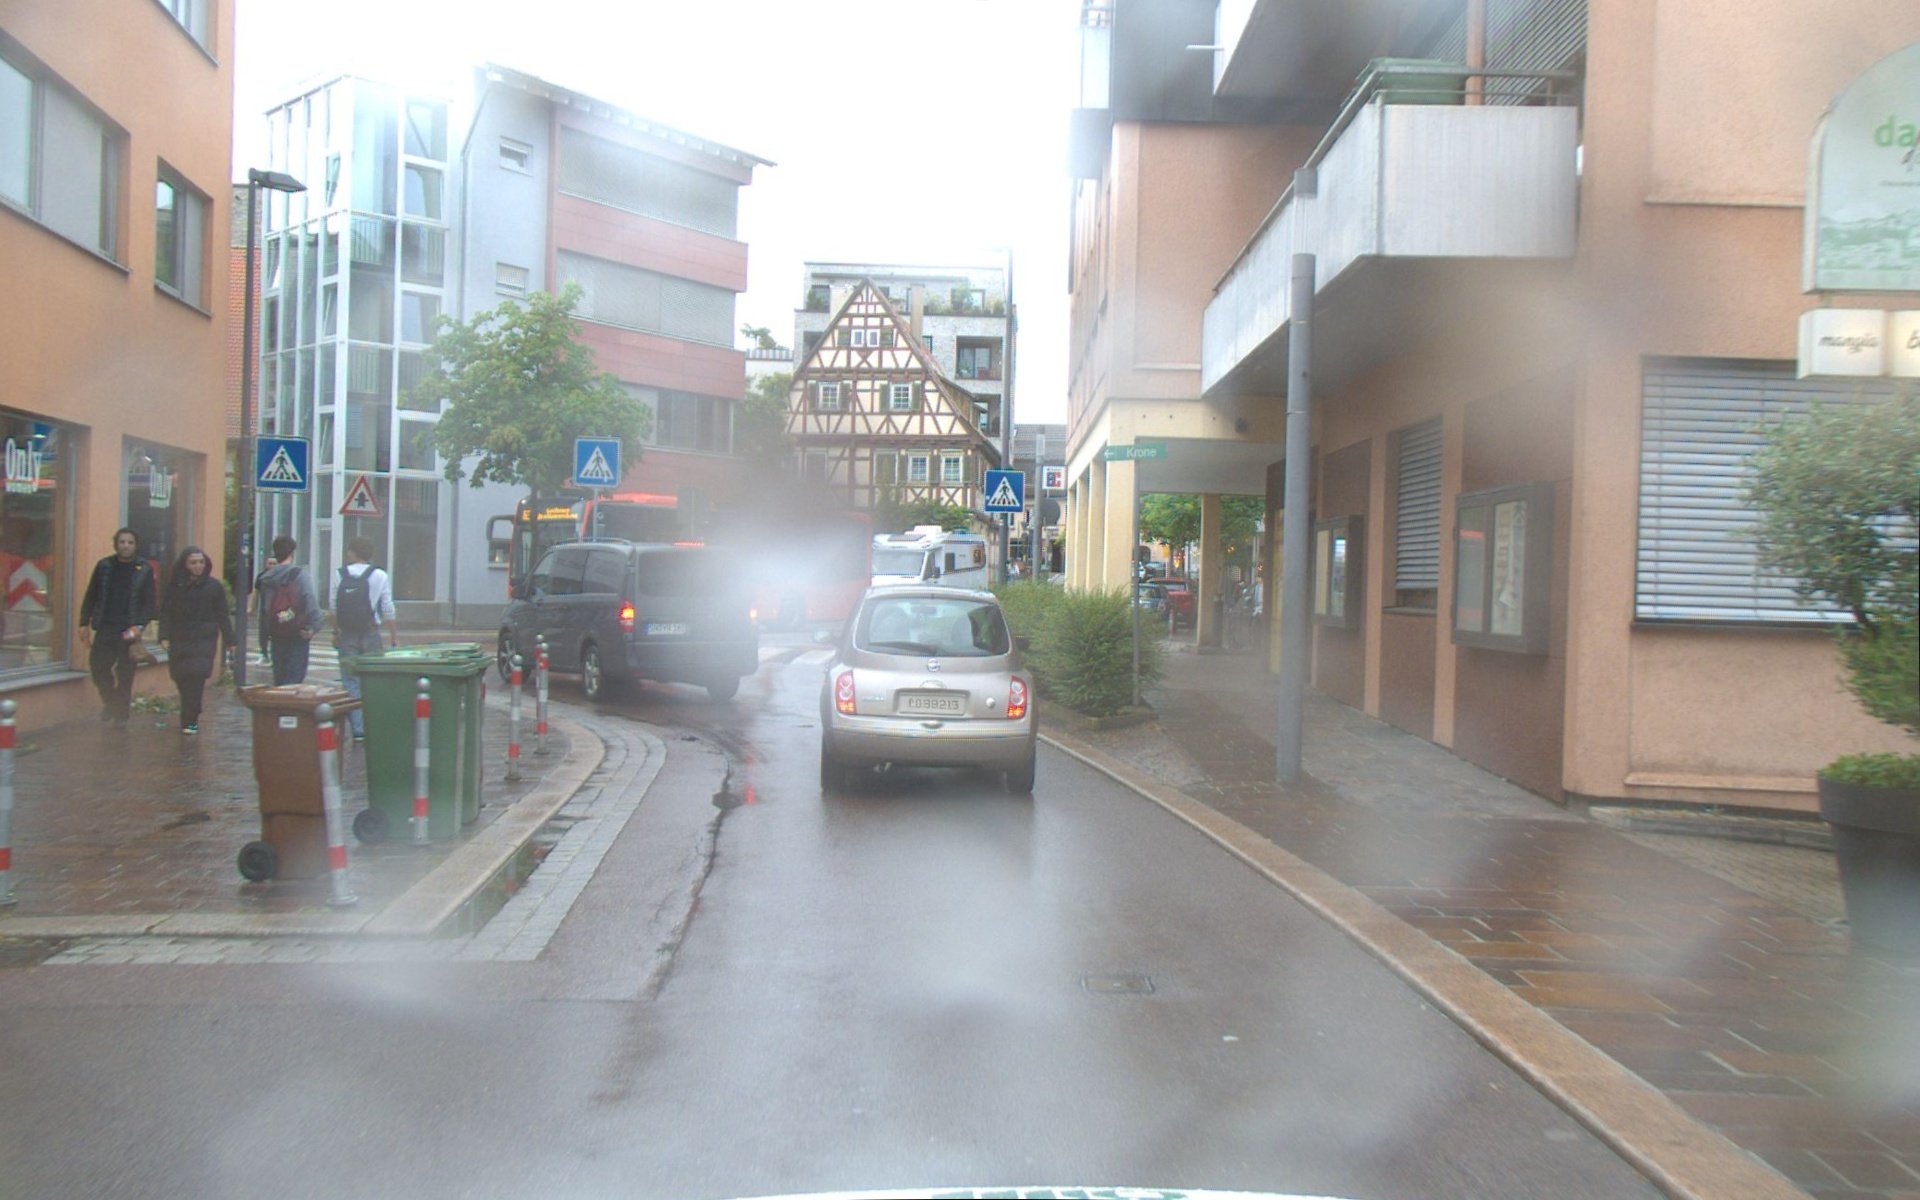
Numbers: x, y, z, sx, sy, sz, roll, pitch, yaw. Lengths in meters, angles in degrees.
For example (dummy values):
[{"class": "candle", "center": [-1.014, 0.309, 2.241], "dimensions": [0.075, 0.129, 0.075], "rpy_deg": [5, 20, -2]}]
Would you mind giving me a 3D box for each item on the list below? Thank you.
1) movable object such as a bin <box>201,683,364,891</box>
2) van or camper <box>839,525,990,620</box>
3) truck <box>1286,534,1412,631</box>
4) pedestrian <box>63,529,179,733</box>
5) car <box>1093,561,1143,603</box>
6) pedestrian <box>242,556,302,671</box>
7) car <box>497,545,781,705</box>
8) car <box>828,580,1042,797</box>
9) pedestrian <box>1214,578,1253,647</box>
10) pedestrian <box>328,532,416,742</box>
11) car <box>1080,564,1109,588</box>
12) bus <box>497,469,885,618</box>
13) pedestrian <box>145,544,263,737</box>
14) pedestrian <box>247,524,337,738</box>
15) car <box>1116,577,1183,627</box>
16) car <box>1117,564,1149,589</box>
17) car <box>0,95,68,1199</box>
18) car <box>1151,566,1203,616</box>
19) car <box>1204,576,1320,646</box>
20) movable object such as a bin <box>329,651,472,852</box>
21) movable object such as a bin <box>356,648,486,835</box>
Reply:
[{"class": "movable object such as a bin", "center": [-3.307, 0.900, 8.101], "dimensions": [0.569, 0.943, 0.481], "rpy_deg": [2, 0, 0]}, {"class": "van or camper", "center": [-1.245, -0.785, 50.178], "dimensions": [2.387, 2.630, 6.754], "rpy_deg": [2, 1, 18]}, {"class": "truck", "center": [7.884, -0.351, 33.870], "dimensions": [1.726, 1.839, 4.001], "rpy_deg": [1, 0, 2]}, {"class": "pedestrian", "center": [-7.456, 0.270, 14.725], "dimensions": [0.611, 1.742, 0.807], "rpy_deg": [3, 0, -8]}, {"class": "car", "center": [6.316, -0.706, 66.598], "dimensions": [1.857, 1.601, 4.002], "rpy_deg": [1, 0, 4]}, {"class": "pedestrian", "center": [-10.041, 0.192, 24.164], "dimensions": [0.647, 1.638, 0.682], "rpy_deg": [1, 1, -11]}, {"class": "car", "center": [-4.244, 0.273, 21.225], "dimensions": [1.929, 1.812, 4.671], "rpy_deg": [1, 0, -34]}, {"class": "car", "center": [-0.305, 0.619, 13.464], "dimensions": [1.492, 1.496, 3.338], "rpy_deg": [1, 1, -5]}, {"class": "pedestrian", "center": [6.893, 0.307, 41.677], "dimensions": [0.683, 1.690, 0.819], "rpy_deg": [1, 0, 31]}, {"class": "pedestrian", "center": [-5.384, 0.320, 15.118], "dimensions": [0.655, 1.838, 1.053], "rpy_deg": [1, 0, -24]}, {"class": "car", "center": [9.100, -1.613, 112.329], "dimensions": [1.857, 1.534, 3.911], "rpy_deg": [1, 0, 4]}, {"class": "bus", "center": [-6.131, -1.273, 40.259], "dimensions": [2.765, 3.142, 10.573], "rpy_deg": [3, 2, 34]}, {"class": "pedestrian", "center": [-6.799, 0.352, 14.908], "dimensions": [0.701, 1.668, 0.744], "rpy_deg": [3, 0, -8]}, {"class": "pedestrian", "center": [-5.975, 0.259, 14.777], "dimensions": [0.683, 1.832, 1.050], "rpy_deg": [1, 0, -24]}, {"class": "car", "center": [5.611, 0.034, 48.671], "dimensions": [1.504, 1.385, 3.376], "rpy_deg": [2, 1, 14]}, {"class": "car", "center": [11.127, -1.518, 106.634], "dimensions": [1.857, 1.534, 3.911], "rpy_deg": [1, 0, 4]}, {"class": "car", "center": [-2.664, 0.285, 0.107], "dimensions": [1.952, 2.279, 5.862], "rpy_deg": [1, 0, 1]}, {"class": "car", "center": [7.016, -0.309, 53.720], "dimensions": [1.589, 1.527, 4.003], "rpy_deg": [-1, 1, 7]}, {"class": "car", "center": [6.059, 0.187, 33.629], "dimensions": [1.726, 1.298, 4.473], "rpy_deg": [1, 0, 3]}, {"class": "movable object such as a bin", "center": [-3.108, 0.828, 9.227], "dimensions": [0.644, 1.055, 0.609], "rpy_deg": [1, 0, -10]}, {"class": "movable object such as a bin", "center": [-3.215, 0.827, 9.905], "dimensions": [0.644, 1.054, 0.609], "rpy_deg": [0, 1, -10]}]
